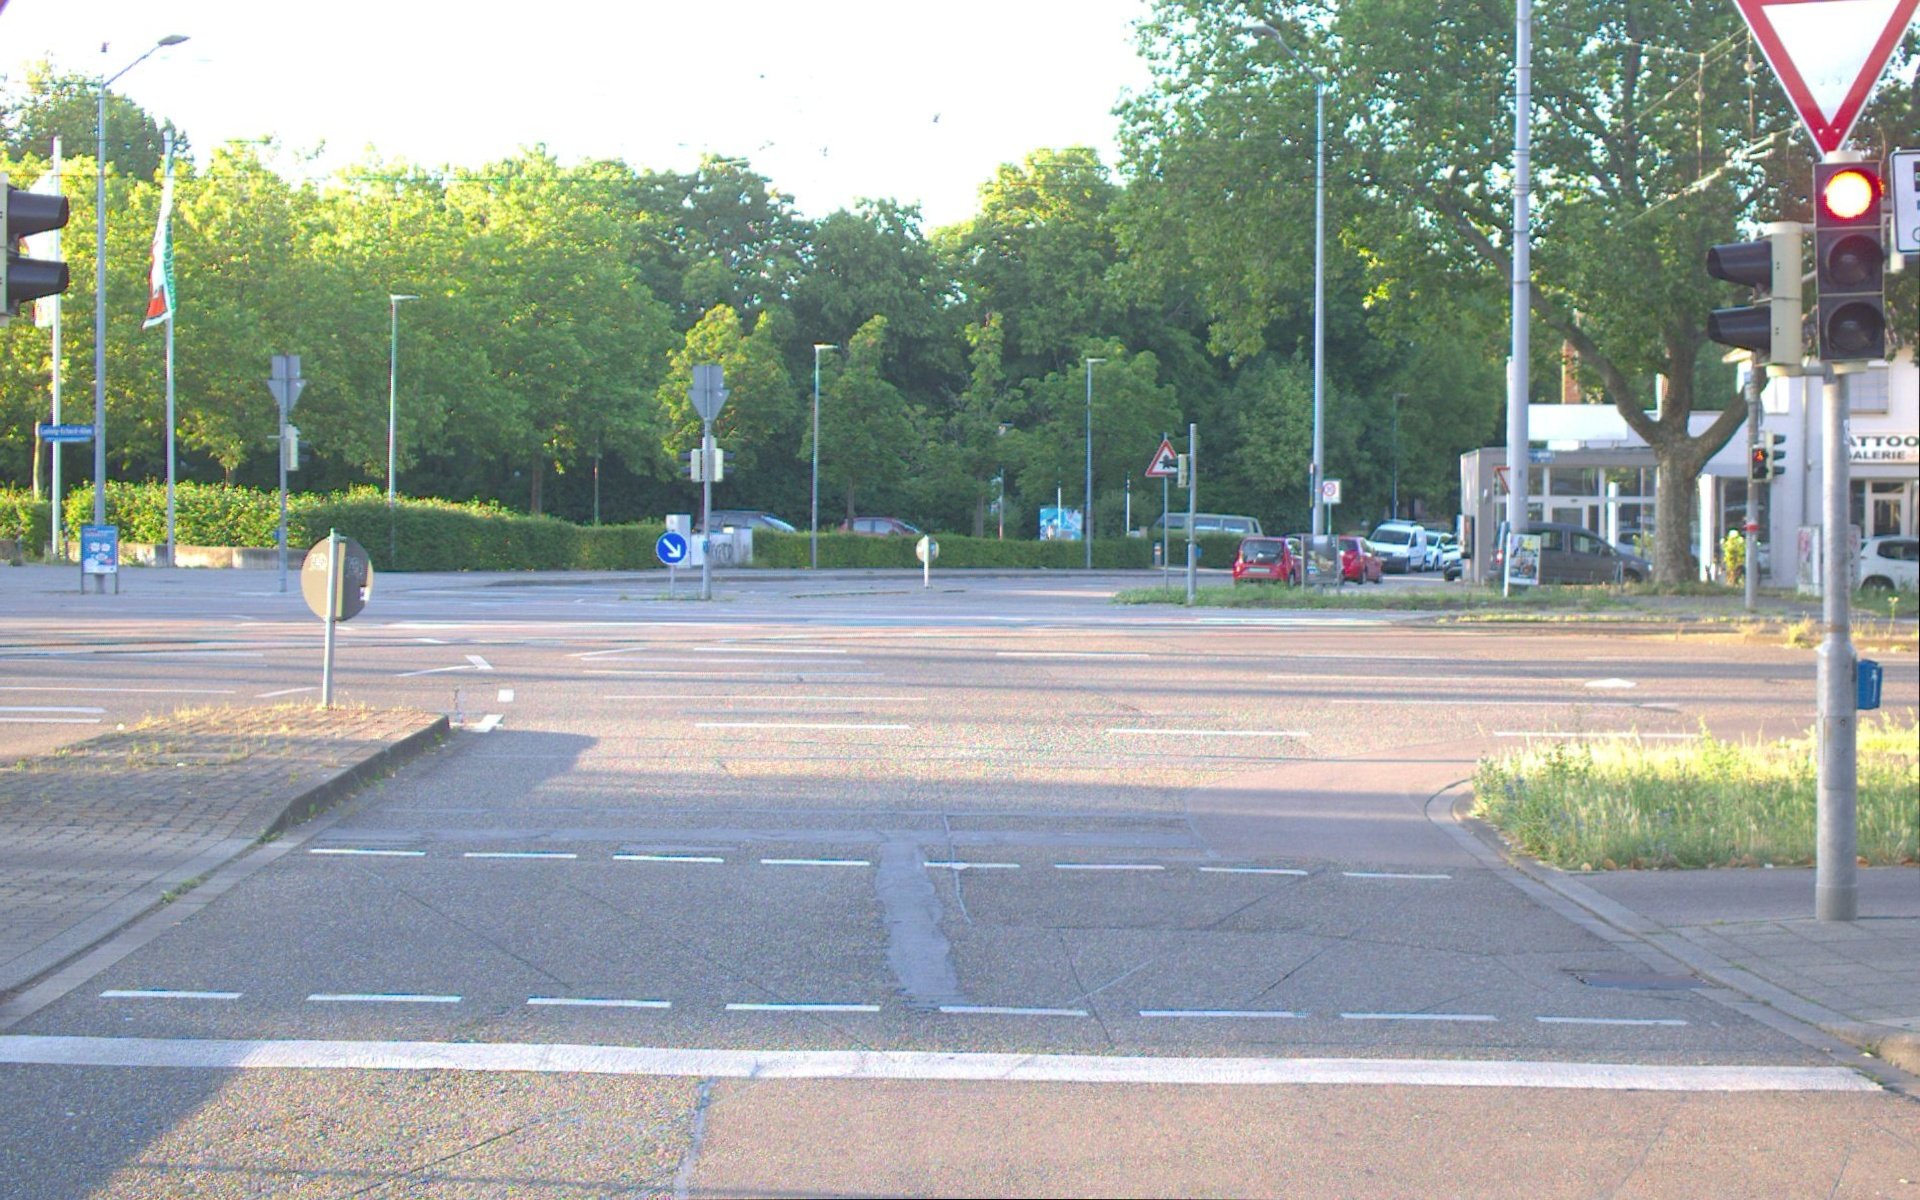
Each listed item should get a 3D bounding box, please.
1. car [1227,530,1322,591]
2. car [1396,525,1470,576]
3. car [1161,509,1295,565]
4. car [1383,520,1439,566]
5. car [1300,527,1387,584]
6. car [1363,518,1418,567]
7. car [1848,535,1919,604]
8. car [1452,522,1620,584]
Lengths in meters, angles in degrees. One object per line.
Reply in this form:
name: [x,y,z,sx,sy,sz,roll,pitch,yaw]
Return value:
car: [8.776,-1.089,95.686,1.995,1.656,3.997,1,0,15]
car: [15.921,-1.665,115.597,1.995,1.656,3.997,1,0,15]
car: [9.782,-2.307,125.874,4.774,1.999,2.000,0,0,2]
car: [17.882,-2.240,136.083,1.864,1.788,3.998,1,0,12]
car: [11.556,-1.327,103.373,1.995,1.656,3.997,1,0,15]
car: [16.427,-2.178,131.188,1.864,1.788,3.998,1,0,10]
car: [20.681,-0.633,72.272,3.741,1.435,1.663,1,0,9]
car: [14.911,-1.207,89.167,4.220,1.547,1.999,1,0,7]
